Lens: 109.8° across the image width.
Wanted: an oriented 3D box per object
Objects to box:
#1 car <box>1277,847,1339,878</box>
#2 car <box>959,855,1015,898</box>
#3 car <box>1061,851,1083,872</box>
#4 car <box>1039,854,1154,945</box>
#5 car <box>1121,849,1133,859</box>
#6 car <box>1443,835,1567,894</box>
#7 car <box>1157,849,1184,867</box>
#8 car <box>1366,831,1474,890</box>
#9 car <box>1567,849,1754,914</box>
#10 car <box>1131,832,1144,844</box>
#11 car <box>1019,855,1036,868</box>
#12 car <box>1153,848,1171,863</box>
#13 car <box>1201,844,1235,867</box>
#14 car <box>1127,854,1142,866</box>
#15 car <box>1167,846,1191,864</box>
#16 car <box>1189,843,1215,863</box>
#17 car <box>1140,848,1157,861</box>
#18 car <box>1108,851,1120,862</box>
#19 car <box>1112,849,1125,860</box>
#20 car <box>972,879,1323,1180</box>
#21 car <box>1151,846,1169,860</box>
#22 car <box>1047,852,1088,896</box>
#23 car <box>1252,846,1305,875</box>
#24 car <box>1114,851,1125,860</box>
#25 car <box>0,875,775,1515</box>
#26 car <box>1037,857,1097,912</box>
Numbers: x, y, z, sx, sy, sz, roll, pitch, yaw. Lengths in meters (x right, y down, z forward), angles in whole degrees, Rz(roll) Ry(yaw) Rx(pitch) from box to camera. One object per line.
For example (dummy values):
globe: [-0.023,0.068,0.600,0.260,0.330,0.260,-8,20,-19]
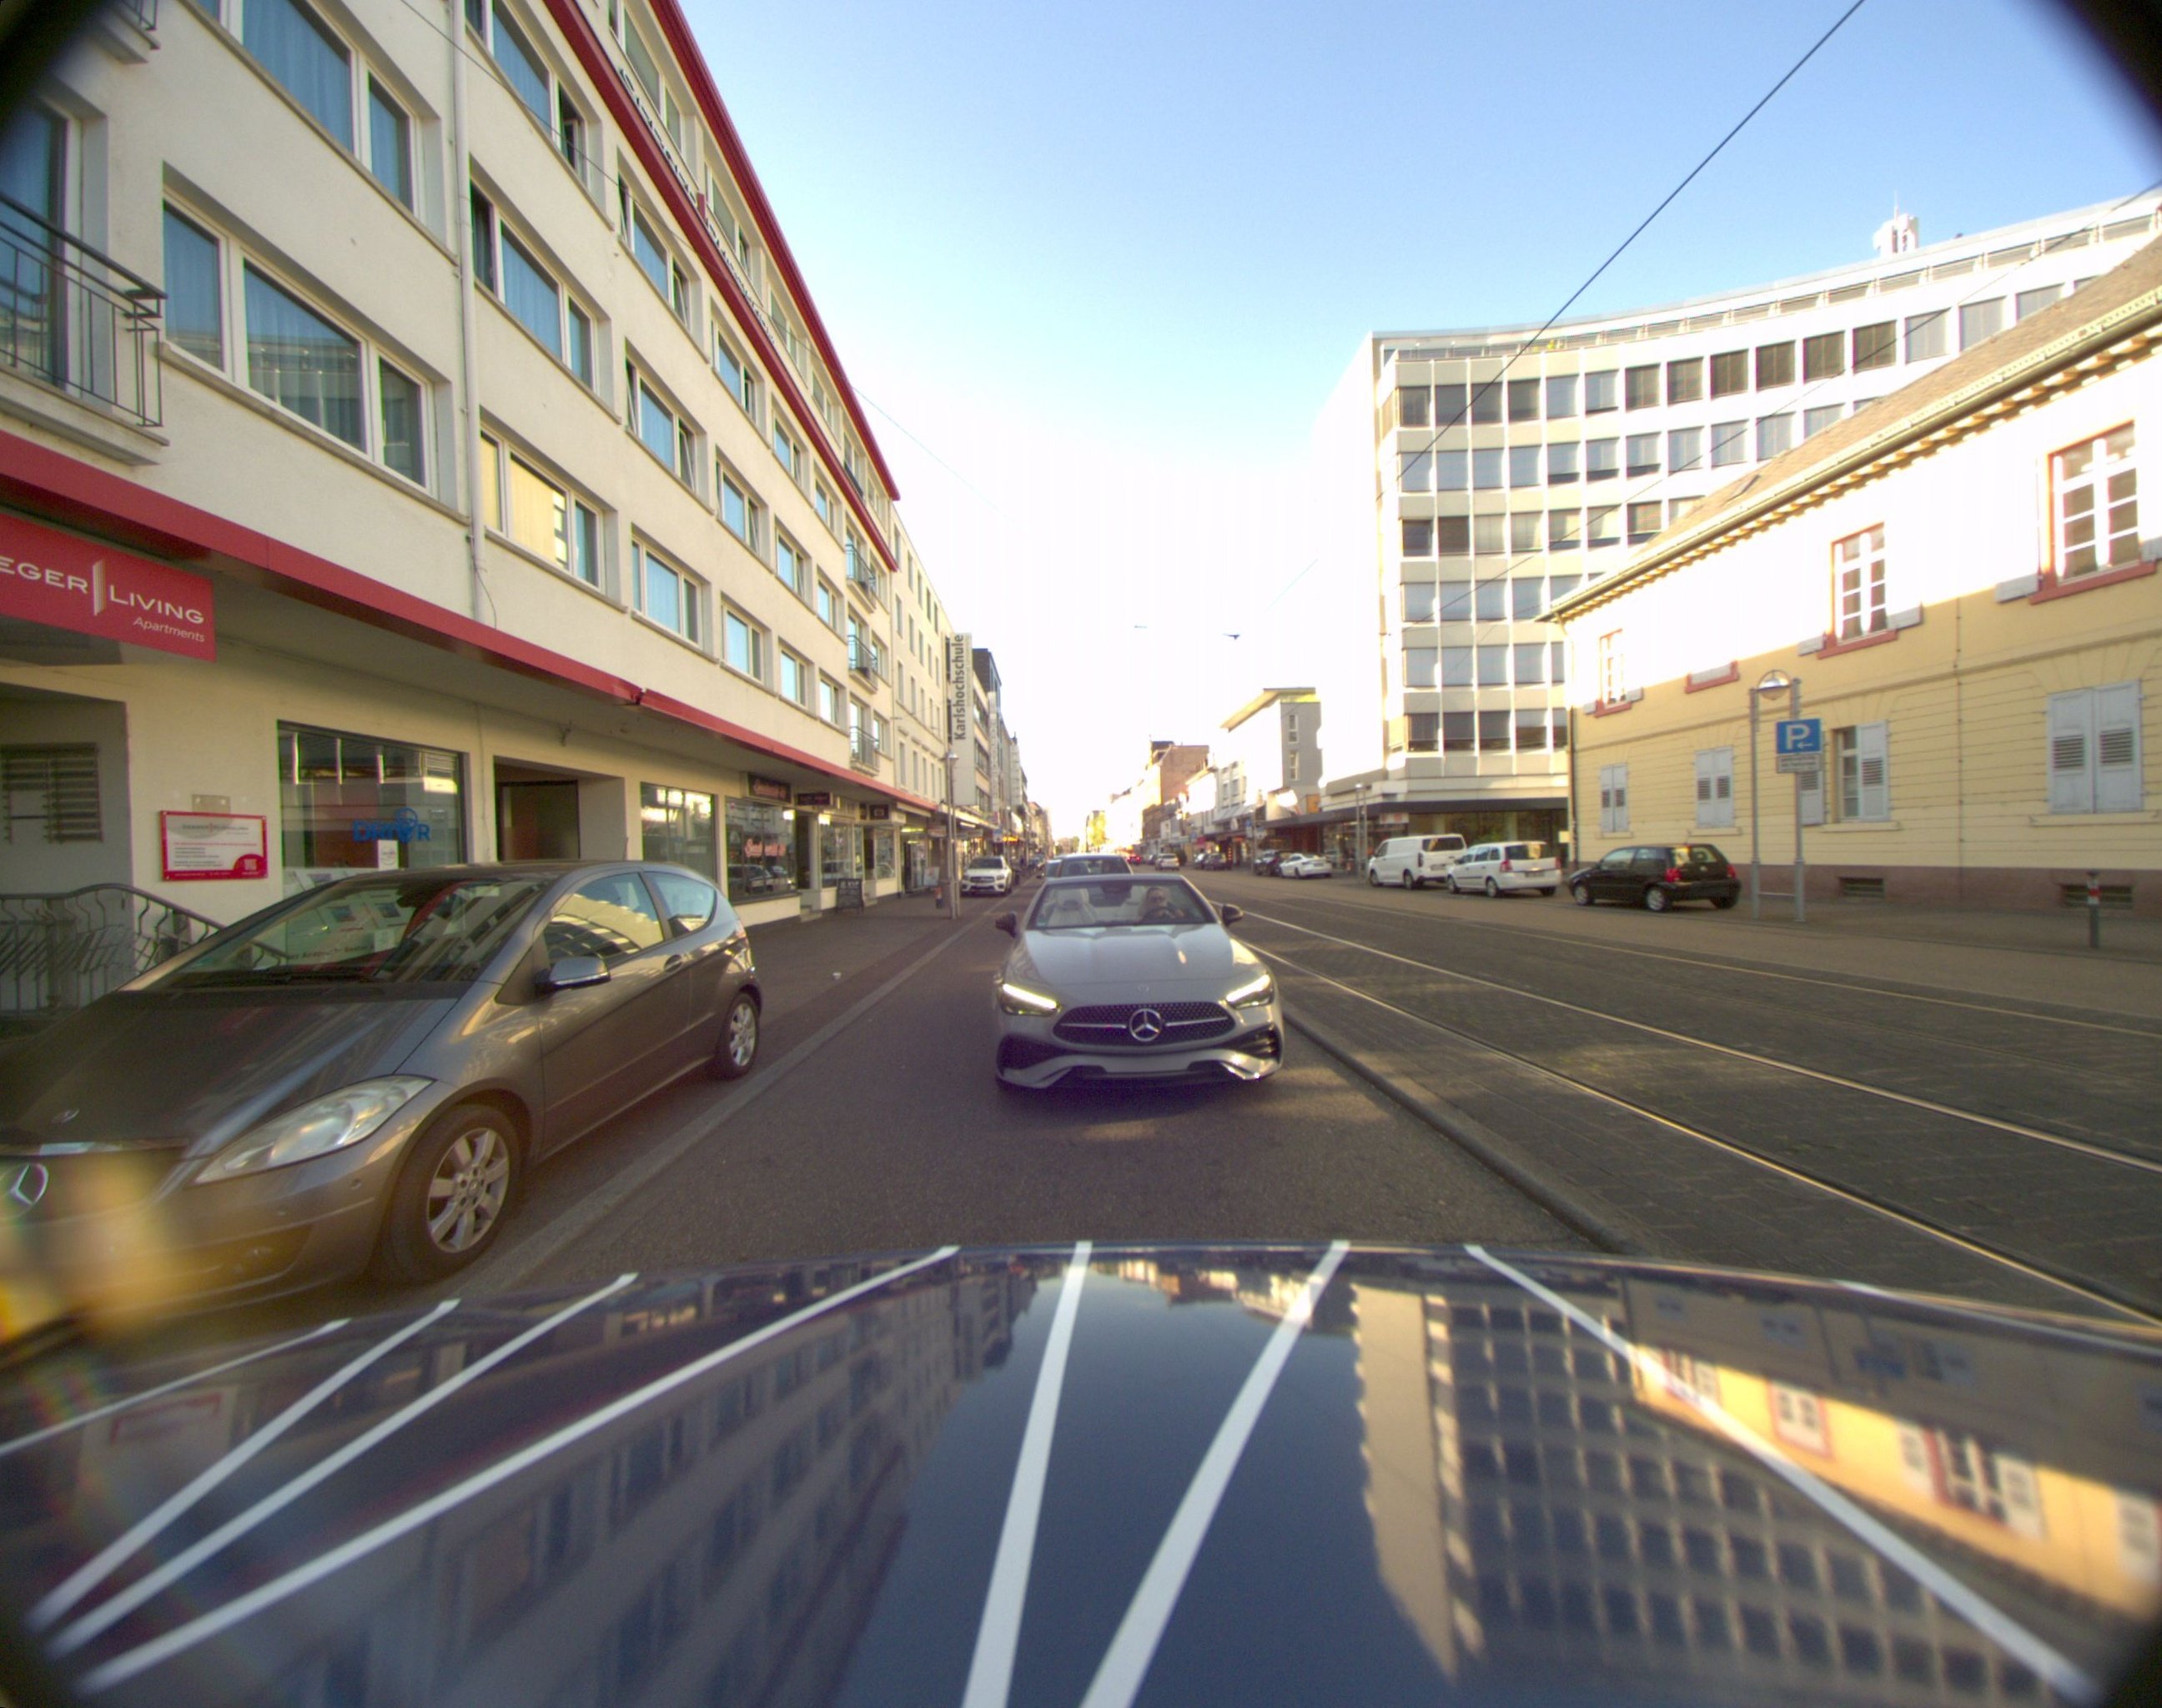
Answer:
car: [12.553,0.424,42.255,1.999,1.521,4.373,-2,1,-1]
car: [-3.849,0.888,31.713,1.999,1.620,3.998,-1,0,-4]
car: [-0.860,0.681,72.857,1.999,1.793,3.999,-2,1,-1]
car: [0.177,0.811,15.524,1.927,1.533,3.998,-2,0,-4]
car: [9.542,-0.013,157.318,1.999,2.002,3.999,-1,0,-2]
car: [12.755,0.269,23.149,1.641,1.600,4.005,-2,1,3]
car: [8.108,0.364,69.254,1.760,1.587,3.999,-1,0,-2]
car: [12.679,0.232,28.783,2.040,2.002,4.621,-1,0,1]
car: [12.864,0.547,17.116,1.688,1.246,3.212,-2,1,-1]
car: [9.938,-2.799,134.388,1.998,2.002,3.999,-2,1,0]
car: [-6.145,0.863,87.391,1.714,1.430,3.756,-2,1,-1]
car: [10.785,0.208,101.394,1.998,2.002,4.000,-1,0,1]
car: [11.785,0.105,65.645,1.999,1.849,3.998,-2,1,-2]
car: [7.572,0.879,107.076,1.964,1.499,4.000,-2,1,4]
car: [11.644,0.153,90.457,2.200,2.030,3.999,-1,0,-1]
car: [11.778,-0.060,74.156,1.789,1.870,3.999,-1,0,-2]
car: [10.716,0.041,121.417,1.999,2.002,5.320,-1,0,-2]
car: [6.573,0.454,150.644,1.999,2.002,3.998,-2,1,-2]
car: [6.490,0.048,131.404,1.914,1.883,3.855,-2,1,-2]
car: [0.235,1.010,6.136,1.884,1.375,3.998,-2,1,-4]
car: [11.531,-0.150,111.266,1.999,2.002,3.998,-2,1,-2]
car: [-0.582,0.787,32.361,1.573,1.670,3.688,-2,1,-1]
car: [12.327,0.362,47.679,1.999,1.694,4.107,-3,1,-2]
car: [8.977,0.293,176.443,2.148,1.850,3.998,-2,1,-2]
car: [-3.227,0.958,3.944,1.683,1.537,3.999,-2,0,-1]
car: [-0.457,0.883,23.651,1.648,1.506,3.844,-2,0,-2]
